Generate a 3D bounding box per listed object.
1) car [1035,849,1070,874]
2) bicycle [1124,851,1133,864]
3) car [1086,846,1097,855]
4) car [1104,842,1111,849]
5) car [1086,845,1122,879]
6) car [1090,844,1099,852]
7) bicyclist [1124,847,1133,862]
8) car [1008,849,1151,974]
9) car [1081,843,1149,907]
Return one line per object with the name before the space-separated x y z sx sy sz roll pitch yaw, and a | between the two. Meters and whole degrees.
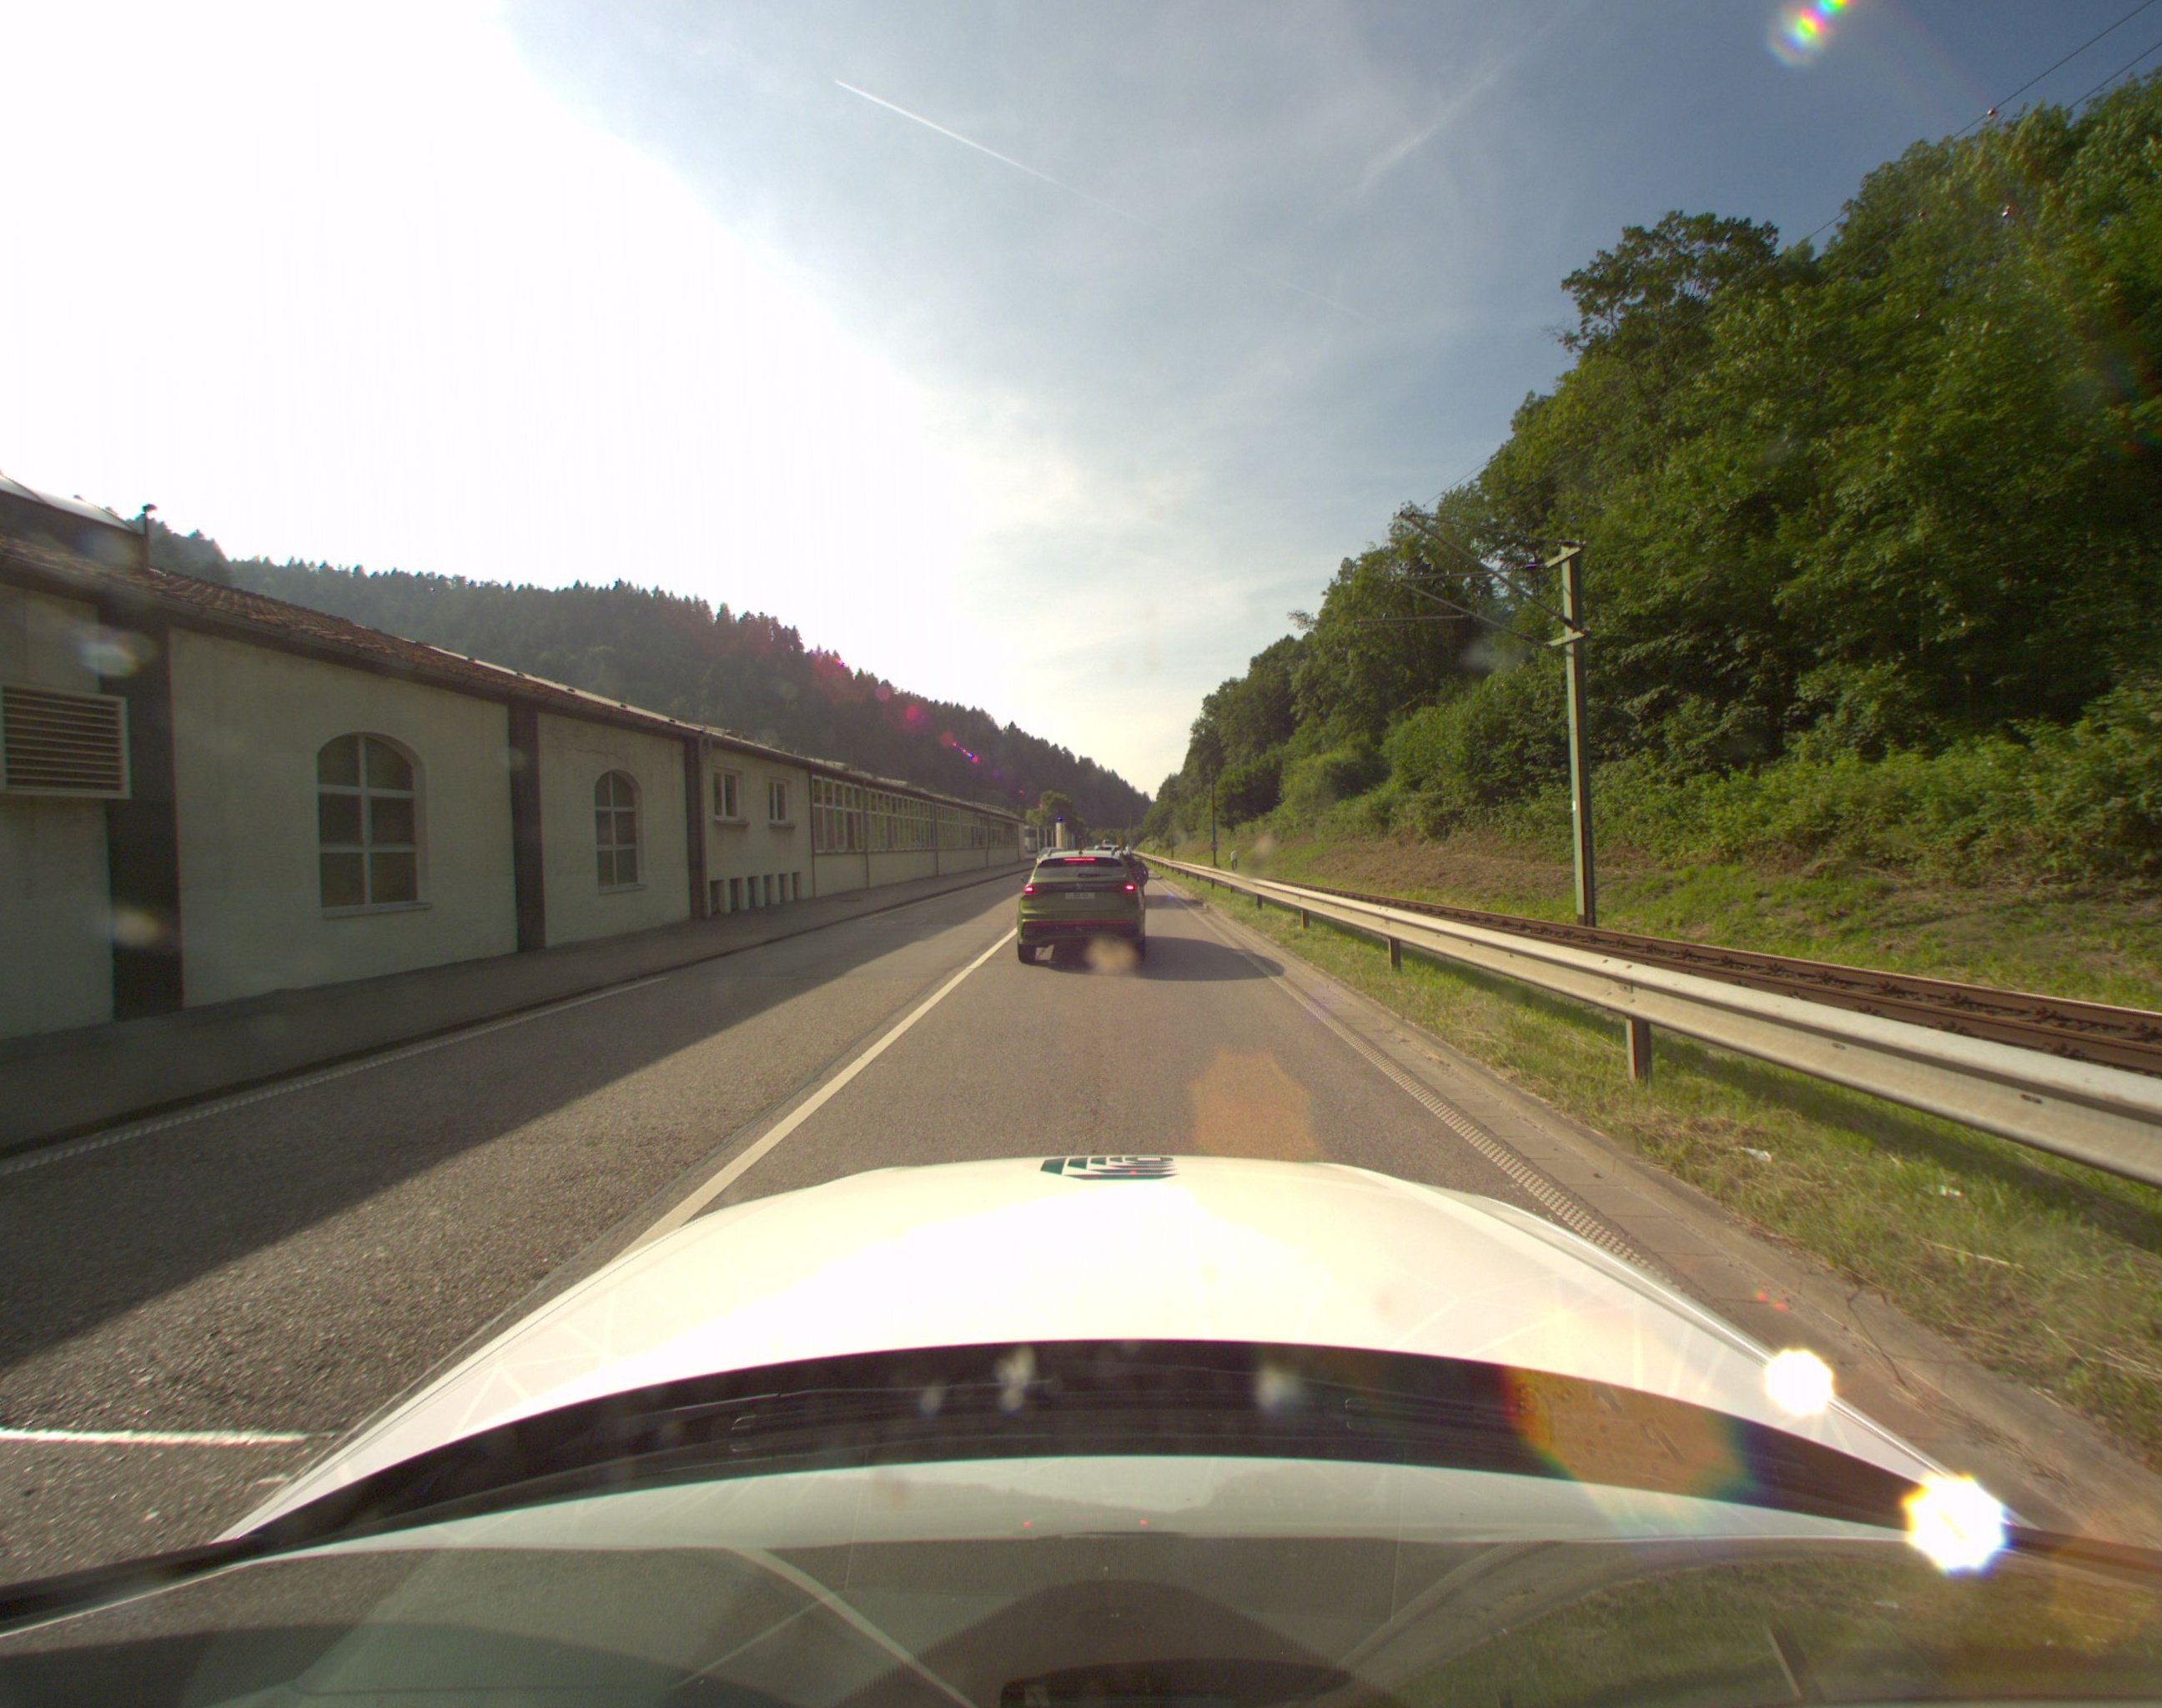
car | -1.804 0.448 52.847 1.922 1.581 4.460 0 0 2
bicycle | 4.707 0.336 80.653 0.809 1.250 2.122 -2 0 0
car | 1.848 -0.582 138.985 1.713 1.514 4.201 0 1 2
car | 8.355 -2.661 256.339 1.986 2.013 4.001 -1 0 1
car | 1.147 0.369 41.062 1.733 1.602 4.001 -1 0 1
car | 2.681 -1.170 160.189 1.767 1.490 4.054 0 1 2
bicyclist | 4.720 0.054 80.738 0.779 1.411 0.675 -2 0 0
car | 0.025 0.700 12.115 1.733 1.508 4.001 -1 0 1
car | 0.911 0.517 22.785 1.733 1.602 4.001 -1 0 1
